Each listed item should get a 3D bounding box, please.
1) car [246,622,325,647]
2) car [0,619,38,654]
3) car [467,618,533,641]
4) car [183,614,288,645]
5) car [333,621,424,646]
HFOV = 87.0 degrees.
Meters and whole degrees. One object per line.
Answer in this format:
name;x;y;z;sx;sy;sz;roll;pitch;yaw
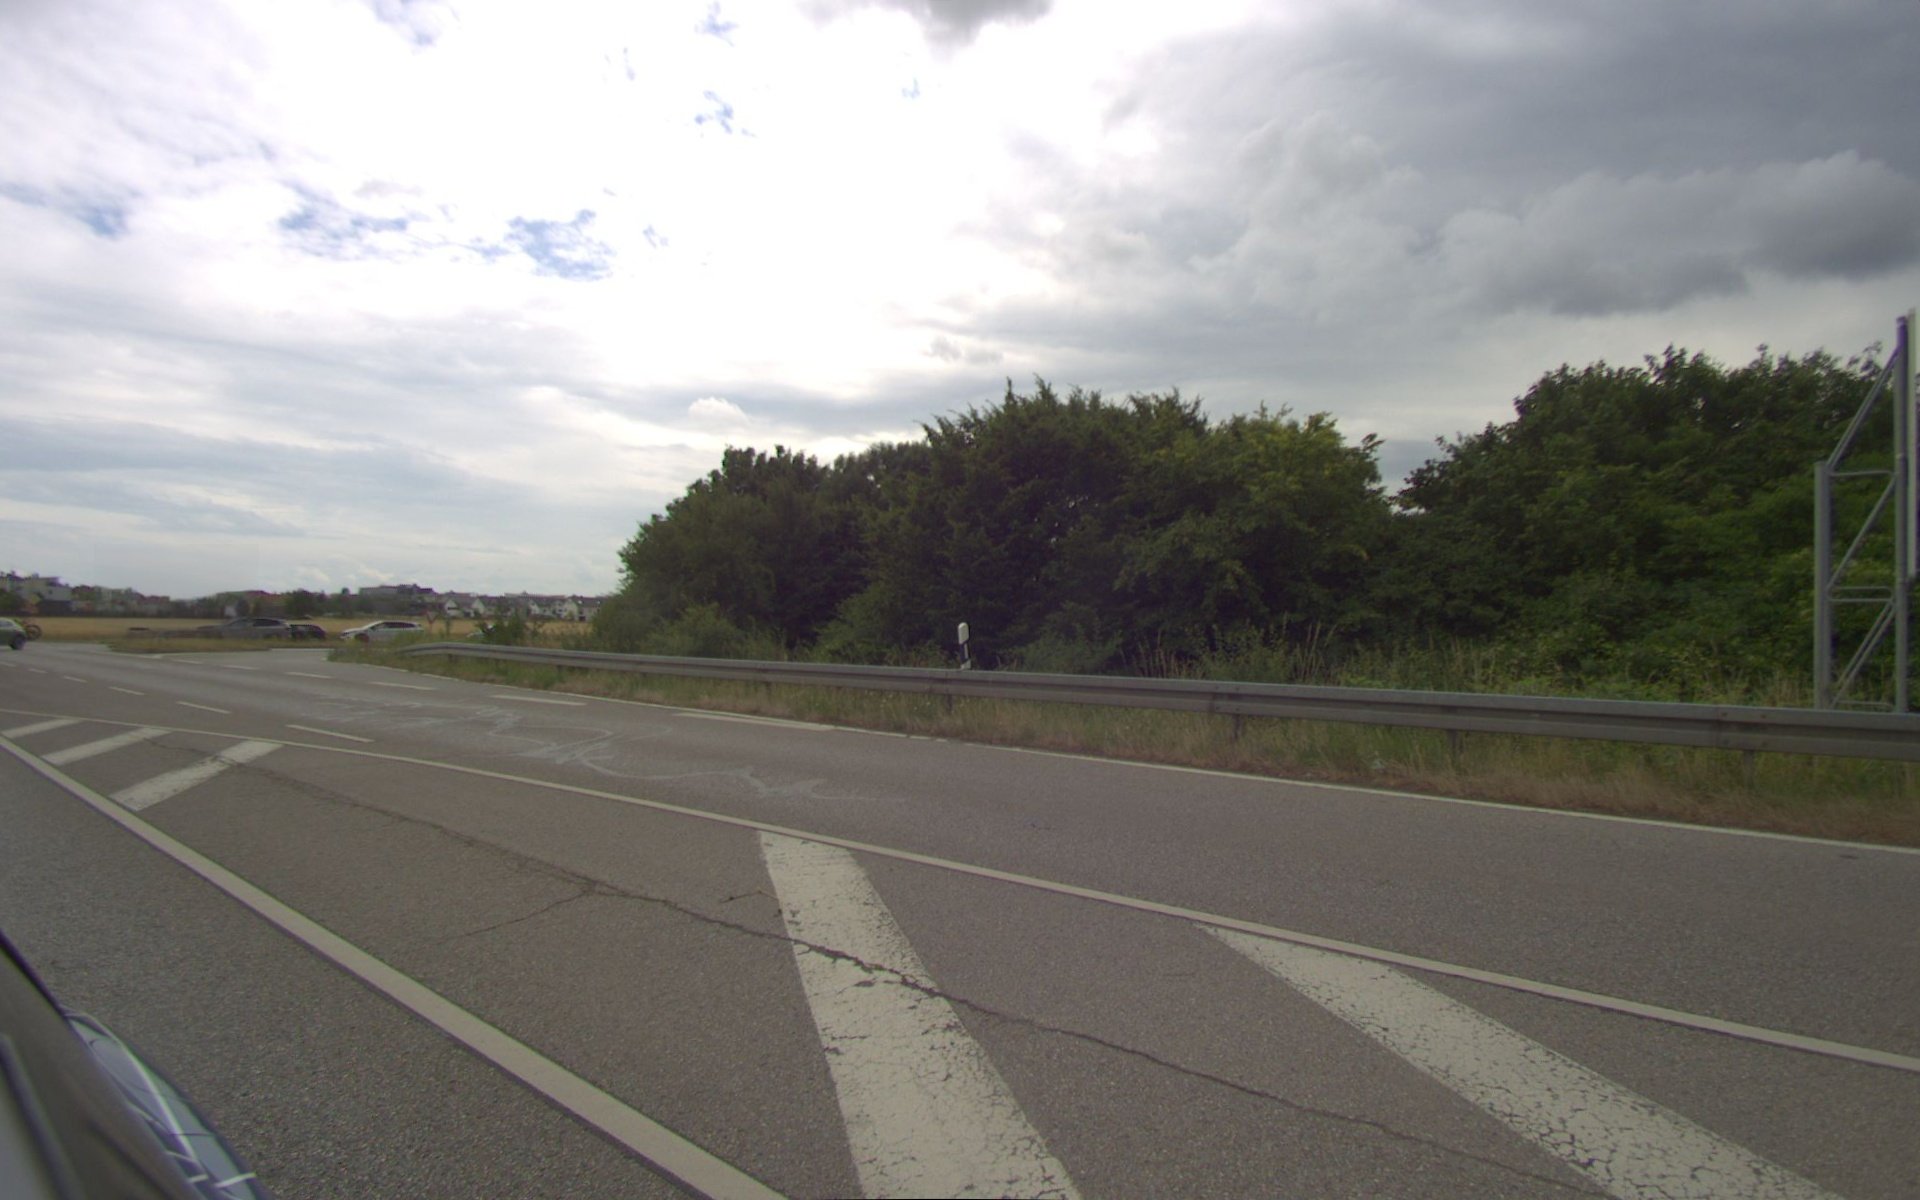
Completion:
car;-41.413;2.103;62.202;3.779;1.501;2.002;1;-2;-42
car;-45.320;1.691;46.515;1.967;1.621;5.144;0;-1;-12
car;-30.722;1.976;67.637;3.662;1.510;1.732;1;-2;-42
car;-41.864;1.707;58.527;4.744;1.702;2.002;1;-2;-42
car;-36.200;2.061;63.104;4.607;1.510;2.002;1;-2;-42
